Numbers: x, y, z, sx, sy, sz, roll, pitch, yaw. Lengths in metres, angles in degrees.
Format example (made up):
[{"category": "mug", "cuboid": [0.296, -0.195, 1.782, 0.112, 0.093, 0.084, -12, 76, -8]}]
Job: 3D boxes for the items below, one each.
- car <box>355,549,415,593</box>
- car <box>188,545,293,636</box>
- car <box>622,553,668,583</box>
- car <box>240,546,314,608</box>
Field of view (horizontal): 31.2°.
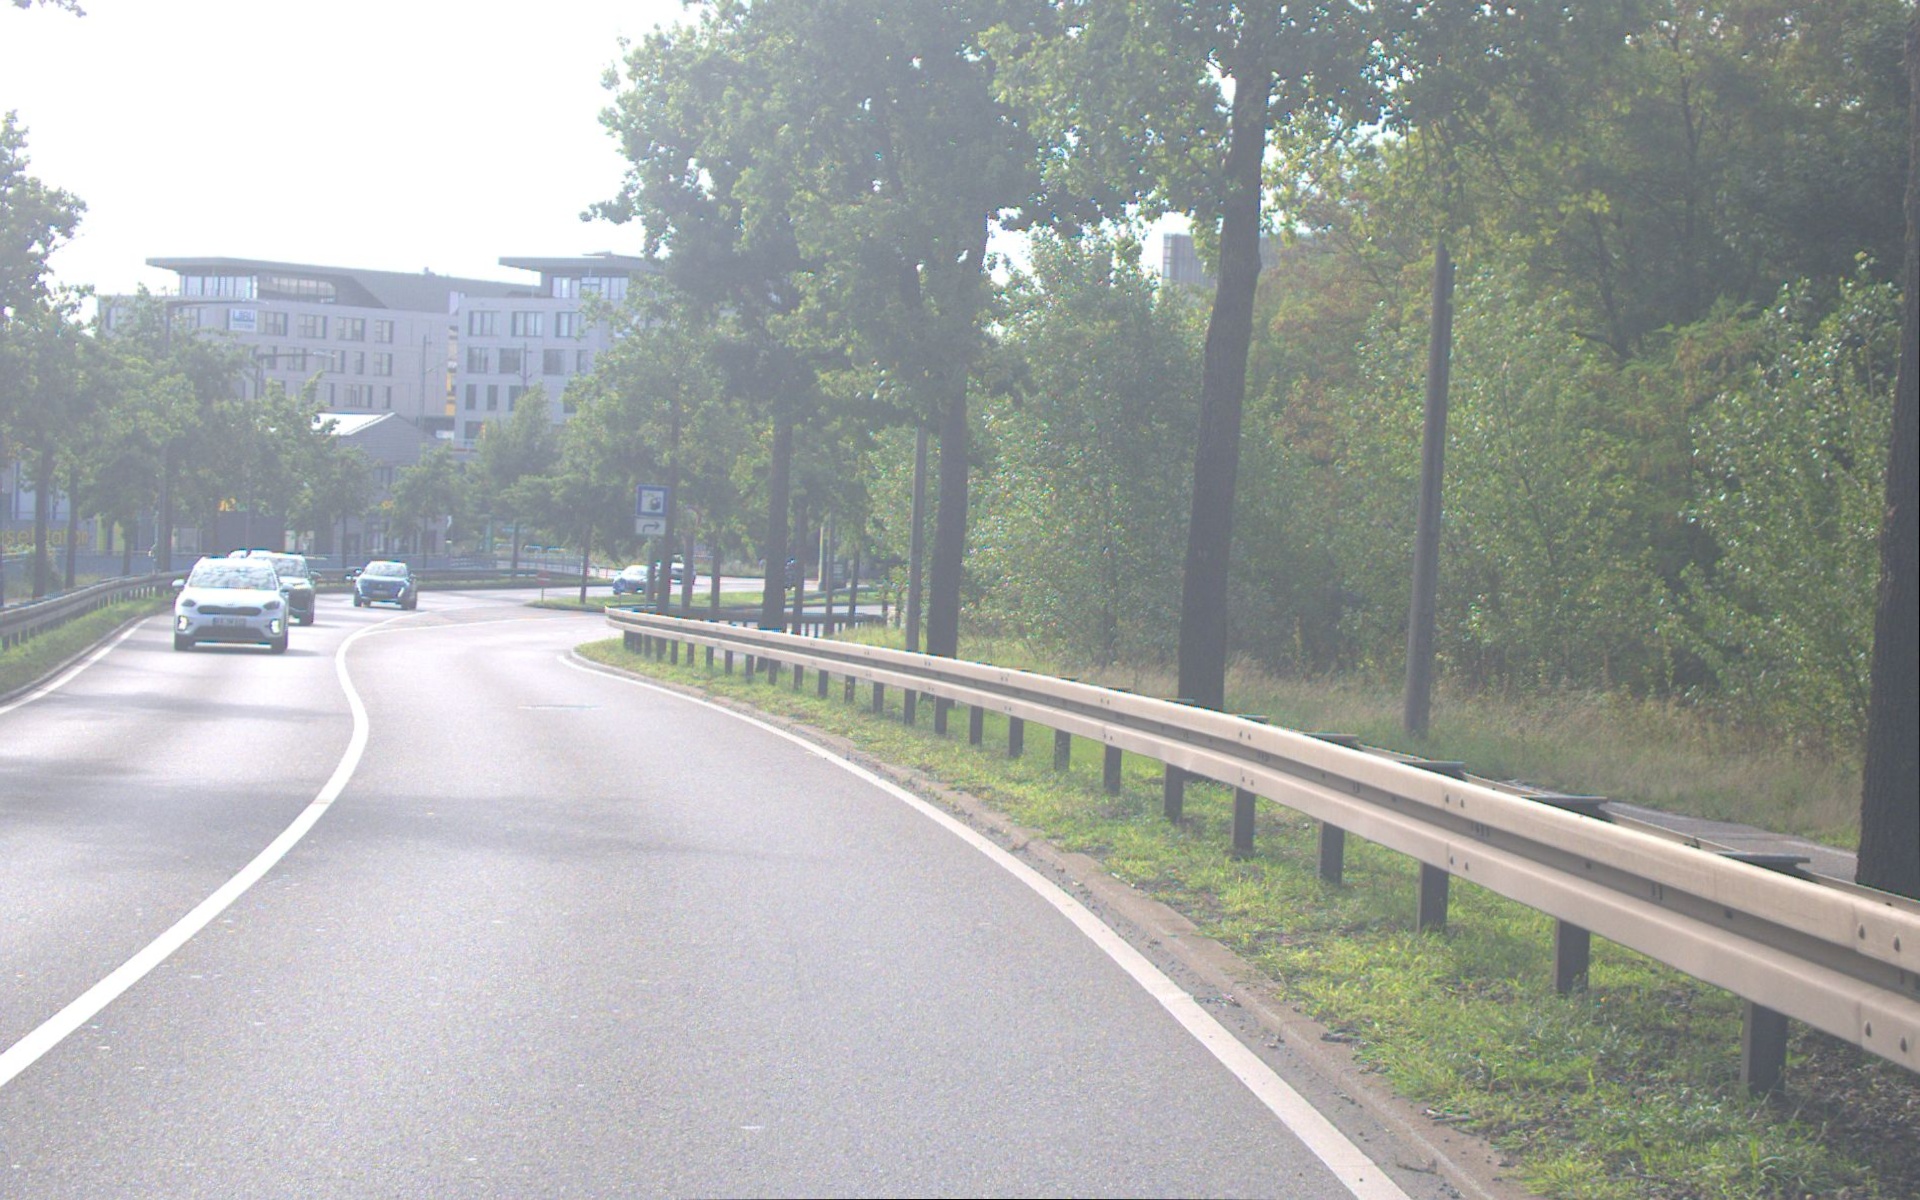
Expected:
[{"category": "car", "cuboid": [-19.163, -0.991, 114.655, 1.567, 1.420, 3.591, 1, 1, -3]}, {"category": "car", "cuboid": [-12.052, -0.181, 57.724, 1.567, 1.420, 3.592, 2, 1, -10]}, {"category": "car", "cuboid": [-15.165, -1.549, 165.613, 1.567, 1.420, 3.590, 1, 1, 5]}, {"category": "car", "cuboid": [-16.413, -0.565, 82.755, 1.567, 1.420, 3.592, 1, 1, -9]}]
